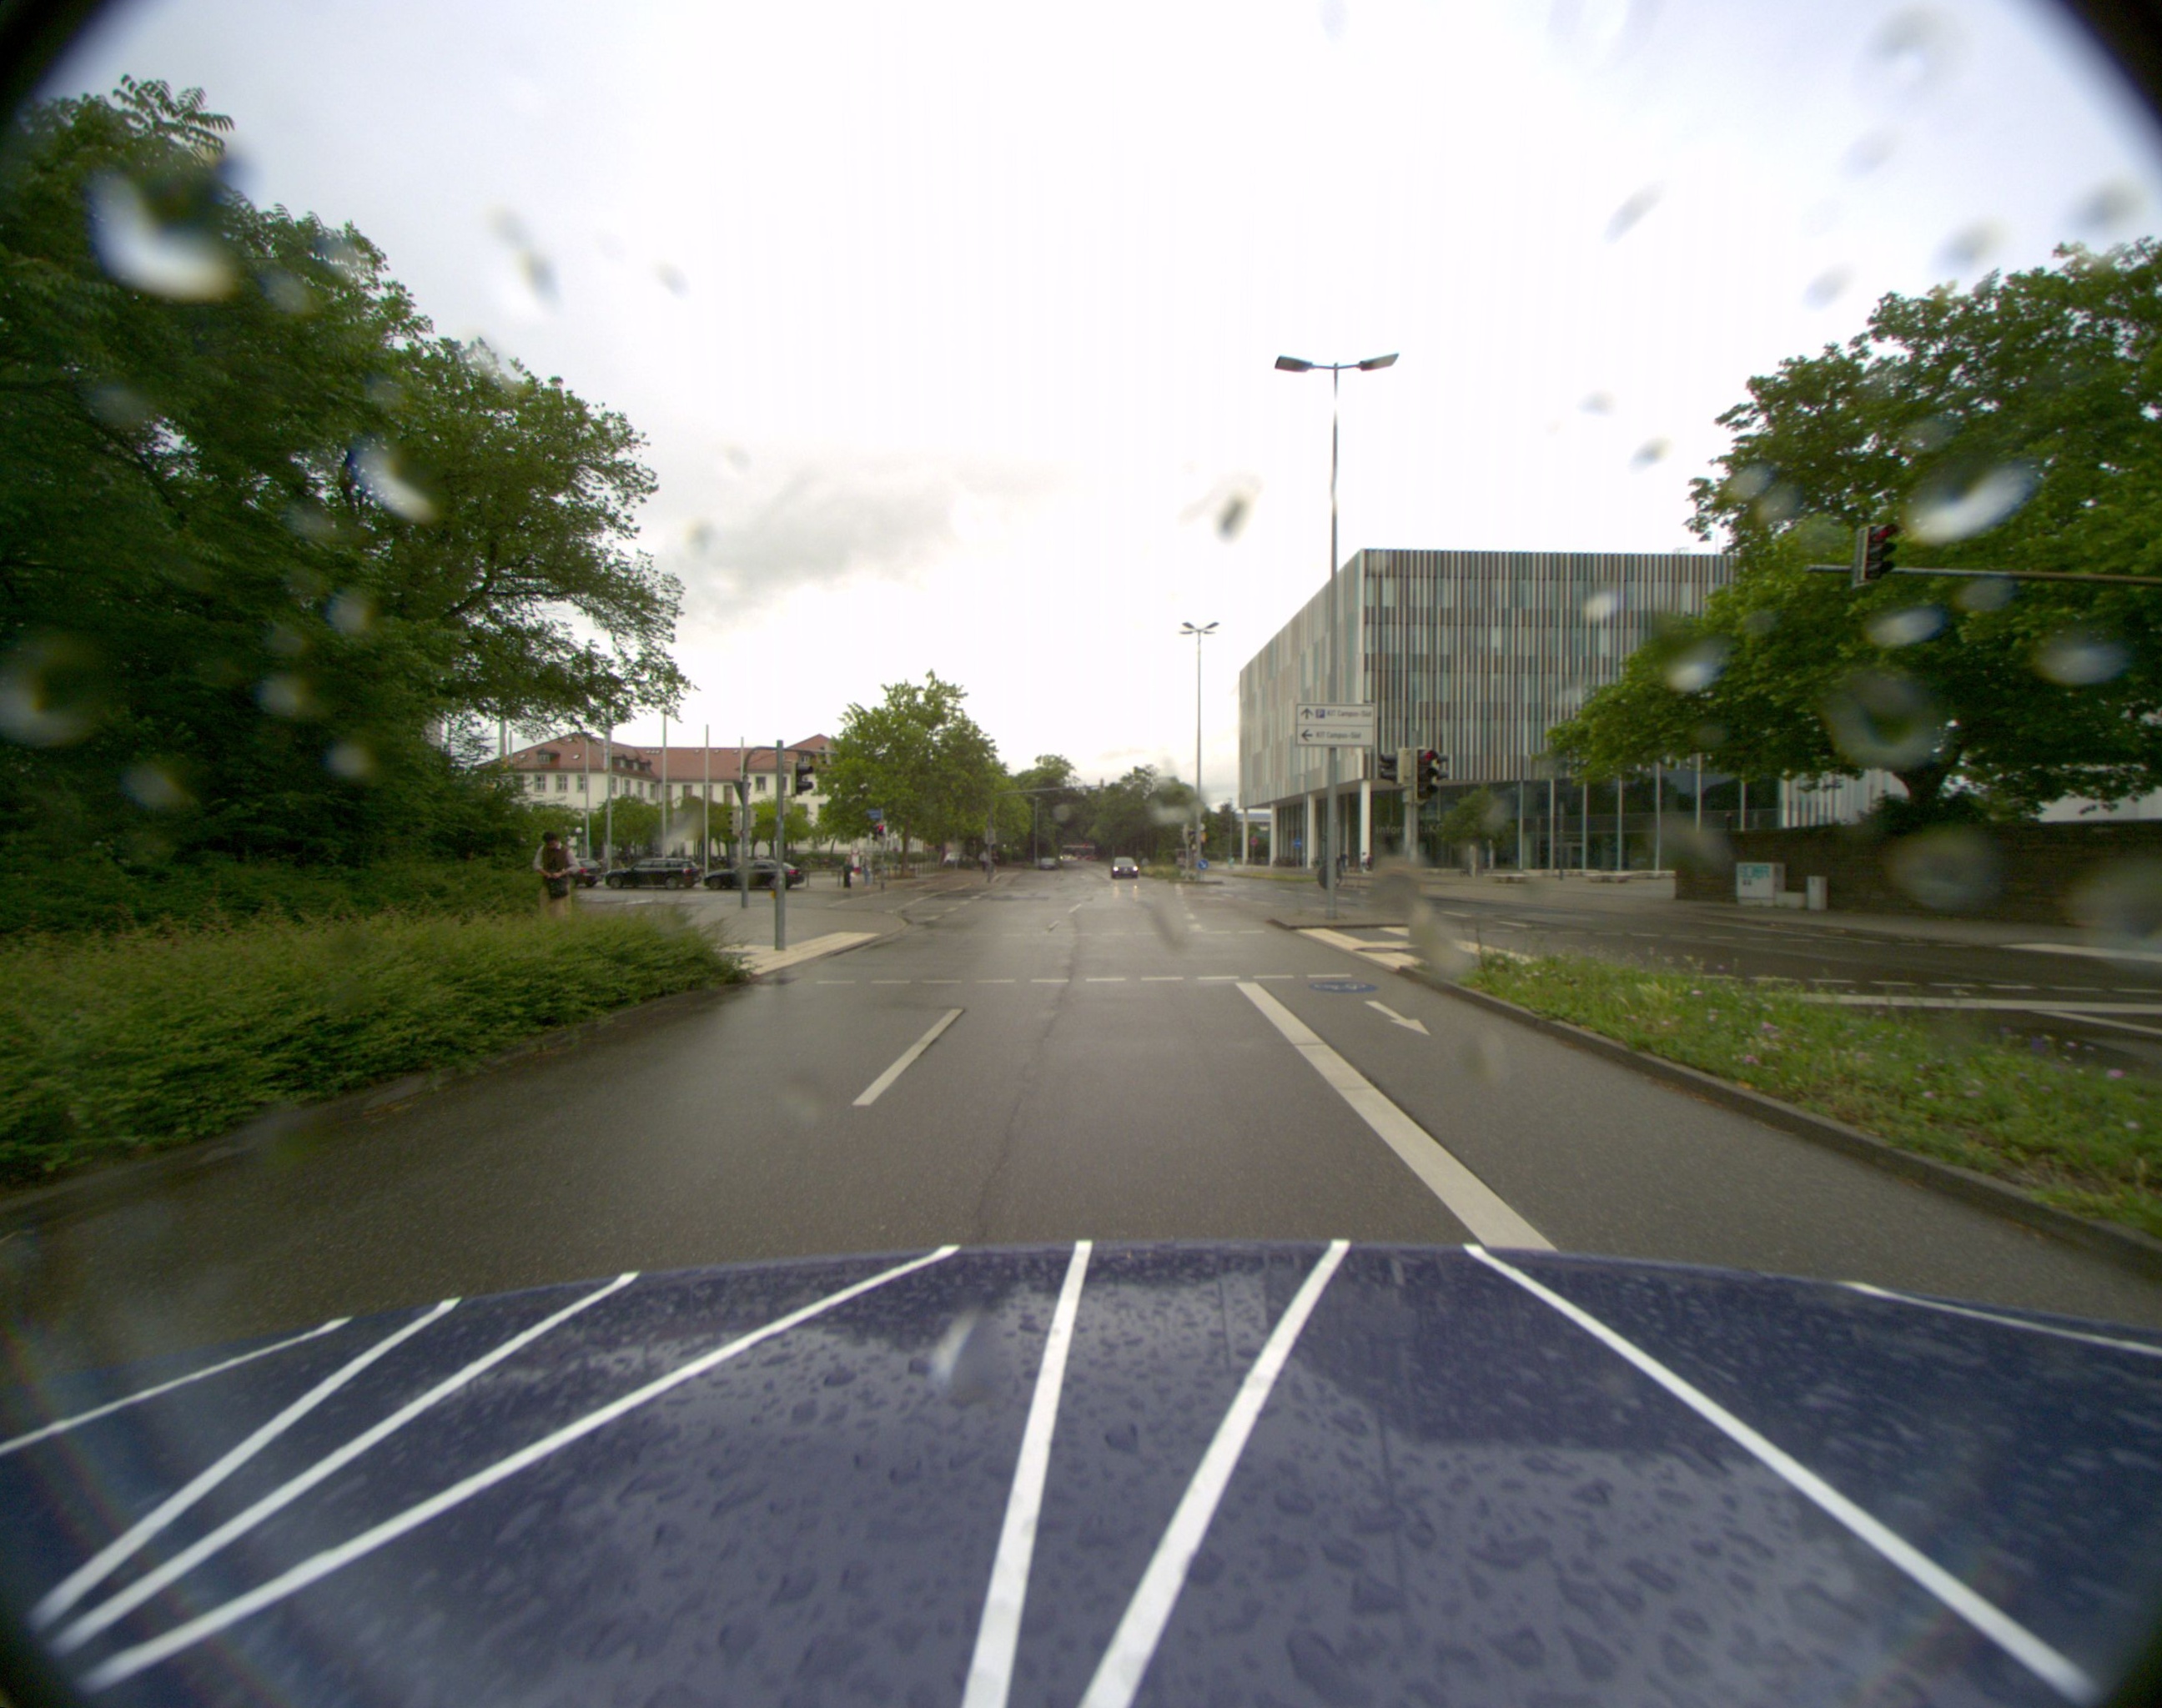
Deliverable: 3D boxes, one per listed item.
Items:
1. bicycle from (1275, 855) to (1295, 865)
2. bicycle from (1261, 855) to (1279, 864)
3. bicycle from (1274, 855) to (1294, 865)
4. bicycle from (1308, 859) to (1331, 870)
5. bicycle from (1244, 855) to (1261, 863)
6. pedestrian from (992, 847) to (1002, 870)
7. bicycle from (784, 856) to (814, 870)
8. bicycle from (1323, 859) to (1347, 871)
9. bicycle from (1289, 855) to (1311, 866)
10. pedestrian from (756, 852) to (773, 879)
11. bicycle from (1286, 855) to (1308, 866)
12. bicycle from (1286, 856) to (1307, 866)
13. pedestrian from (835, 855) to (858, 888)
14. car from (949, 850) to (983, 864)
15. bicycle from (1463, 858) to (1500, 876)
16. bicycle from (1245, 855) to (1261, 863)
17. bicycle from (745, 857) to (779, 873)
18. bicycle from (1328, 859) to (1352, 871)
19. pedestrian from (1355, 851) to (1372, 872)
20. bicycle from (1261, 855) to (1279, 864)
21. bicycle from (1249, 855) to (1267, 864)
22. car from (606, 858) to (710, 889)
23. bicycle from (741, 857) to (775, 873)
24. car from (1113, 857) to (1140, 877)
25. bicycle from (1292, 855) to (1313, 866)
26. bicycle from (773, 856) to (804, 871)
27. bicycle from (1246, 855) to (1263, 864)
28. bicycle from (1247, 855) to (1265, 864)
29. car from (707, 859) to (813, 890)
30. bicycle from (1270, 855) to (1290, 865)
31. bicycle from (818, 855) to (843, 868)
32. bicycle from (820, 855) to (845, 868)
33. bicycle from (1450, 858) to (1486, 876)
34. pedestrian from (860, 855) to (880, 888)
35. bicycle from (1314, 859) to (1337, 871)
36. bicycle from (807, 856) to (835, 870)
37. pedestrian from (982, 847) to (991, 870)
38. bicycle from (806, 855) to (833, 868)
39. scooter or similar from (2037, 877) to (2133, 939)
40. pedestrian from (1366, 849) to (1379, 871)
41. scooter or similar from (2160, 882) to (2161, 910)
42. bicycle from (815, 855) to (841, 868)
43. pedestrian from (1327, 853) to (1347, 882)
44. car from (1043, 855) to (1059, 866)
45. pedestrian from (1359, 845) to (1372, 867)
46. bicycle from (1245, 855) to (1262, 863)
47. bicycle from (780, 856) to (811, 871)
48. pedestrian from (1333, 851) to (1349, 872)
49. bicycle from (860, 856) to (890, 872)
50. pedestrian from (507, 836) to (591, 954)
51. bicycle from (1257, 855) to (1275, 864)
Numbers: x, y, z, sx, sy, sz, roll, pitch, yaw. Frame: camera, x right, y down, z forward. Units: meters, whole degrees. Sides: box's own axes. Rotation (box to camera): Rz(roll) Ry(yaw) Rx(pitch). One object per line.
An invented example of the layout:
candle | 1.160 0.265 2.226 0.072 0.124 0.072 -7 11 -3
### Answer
bicycle | 24.292 0.723 90.589 2.282 1.215 0.599 0 1 10
bicycle | 24.798 0.709 99.565 2.282 1.215 0.599 0 1 10
bicycle | 24.437 0.722 91.414 2.282 1.215 0.599 0 1 10
bicycle | 24.840 1.088 79.146 2.286 1.215 0.598 0 1 -11
bicycle | 24.290 0.690 107.491 2.282 1.215 0.599 0 1 10
pedestrian | -6.661 0.349 60.344 0.625 1.814 0.785 0 1 -21
bicycle | -23.583 0.750 63.503 2.286 1.215 0.598 0 1 -11
bicycle | 25.607 1.098 76.635 2.286 1.215 0.598 0 1 -11
bicycle | 24.938 0.736 86.490 2.282 1.215 0.599 0 1 10
pedestrian | -20.577 0.707 49.368 0.851 1.728 1.120 0 1 -31
bicycle | 24.871 0.733 87.526 2.282 1.215 0.599 0 1 10
bicycle | 25.045 0.801 88.440 2.282 1.215 0.599 0 1 10
pedestrian | -11.533 0.857 37.342 0.879 1.598 0.861 0 1 -31
car | -15.249 0.387 100.949 4.426 1.862 1.637 0 0 -7
bicycle | 26.211 0.847 49.693 2.286 1.215 0.598 0 1 -11
bicycle | 24.492 0.690 108.242 2.282 1.215 0.599 0 1 10
bicycle | -24.446 0.848 58.243 2.286 1.215 0.598 0 1 -11
bicycle | 25.931 1.102 76.017 2.286 1.215 0.598 0 1 -11
pedestrian | 23.865 0.626 64.264 0.940 1.814 0.922 0 1 -22
bicycle | 24.575 0.709 98.873 2.282 1.215 0.599 0 1 10
bicycle | 23.855 0.696 102.494 2.282 1.215 0.599 0 1 10
car | -20.331 0.922 36.650 4.013 1.371 1.772 0 3 0
bicycle | -24.441 0.838 57.562 2.286 1.215 0.598 0 1 -11
car | 3.206 0.930 54.523 1.660 1.357 4.106 0 0 0
bicycle | 24.894 0.738 85.403 2.282 1.215 0.599 0 1 10
bicycle | -23.388 0.757 60.782 2.286 1.215 0.598 0 1 -11
bicycle | 23.856 0.693 104.490 2.282 1.215 0.599 0 1 10
bicycle | 23.825 0.694 103.379 2.282 1.215 0.599 0 1 10
car | -15.568 0.982 37.038 4.387 1.330 1.772 0 3 -2
bicycle | 24.412 0.736 93.178 2.282 1.215 0.599 0 1 10
bicycle | -24.201 0.726 73.424 2.286 1.215 0.598 0 1 -11
bicycle | -24.349 0.723 74.497 2.286 1.215 0.598 0 1 -11
bicycle | 25.814 0.868 50.681 2.286 1.215 0.598 0 1 -11
pedestrian | -10.453 0.869 37.570 0.878 1.598 0.862 0 1 -21
bicycle | 25.099 1.092 78.047 2.286 1.215 0.598 0 1 -11
bicycle | -22.782 0.750 66.600 2.286 1.215 0.598 0 1 -11
pedestrian | -7.439 0.334 59.968 0.625 1.814 0.786 0 1 -13
bicycle | -24.308 0.730 70.729 2.286 1.215 0.598 0 1 -11
scooter or similar | 21.098 1.118 15.993 0.392 1.191 1.141 -6 1 -3
pedestrian | 23.561 0.496 61.383 0.788 1.814 0.623 0 1 -22
scooter or similar | 21.181 1.122 14.162 0.392 1.191 1.141 -7 1 -5
bicycle | -24.116 0.729 72.417 2.286 1.215 0.598 0 1 -11
pedestrian | 15.980 0.817 47.430 0.788 1.814 0.794 0 1 -22
car | -3.457 0.716 87.226 1.660 1.259 4.106 0 0 0
pedestrian | 23.528 0.136 62.790 0.788 1.814 0.623 0 1 -22
bicycle | 24.081 0.692 105.878 2.282 1.215 0.599 0 1 10
bicycle | -23.543 0.752 62.697 2.286 1.215 0.598 0 1 -11
pedestrian | 22.365 0.611 65.410 0.941 1.814 0.921 0 1 -29
bicycle | -16.641 0.807 61.473 2.286 1.215 0.598 0 1 -11
pedestrian | -8.661 0.649 12.397 0.731 1.848 0.851 0 1 8
bicycle | 24.569 0.705 100.853 2.282 1.215 0.599 0 1 10
